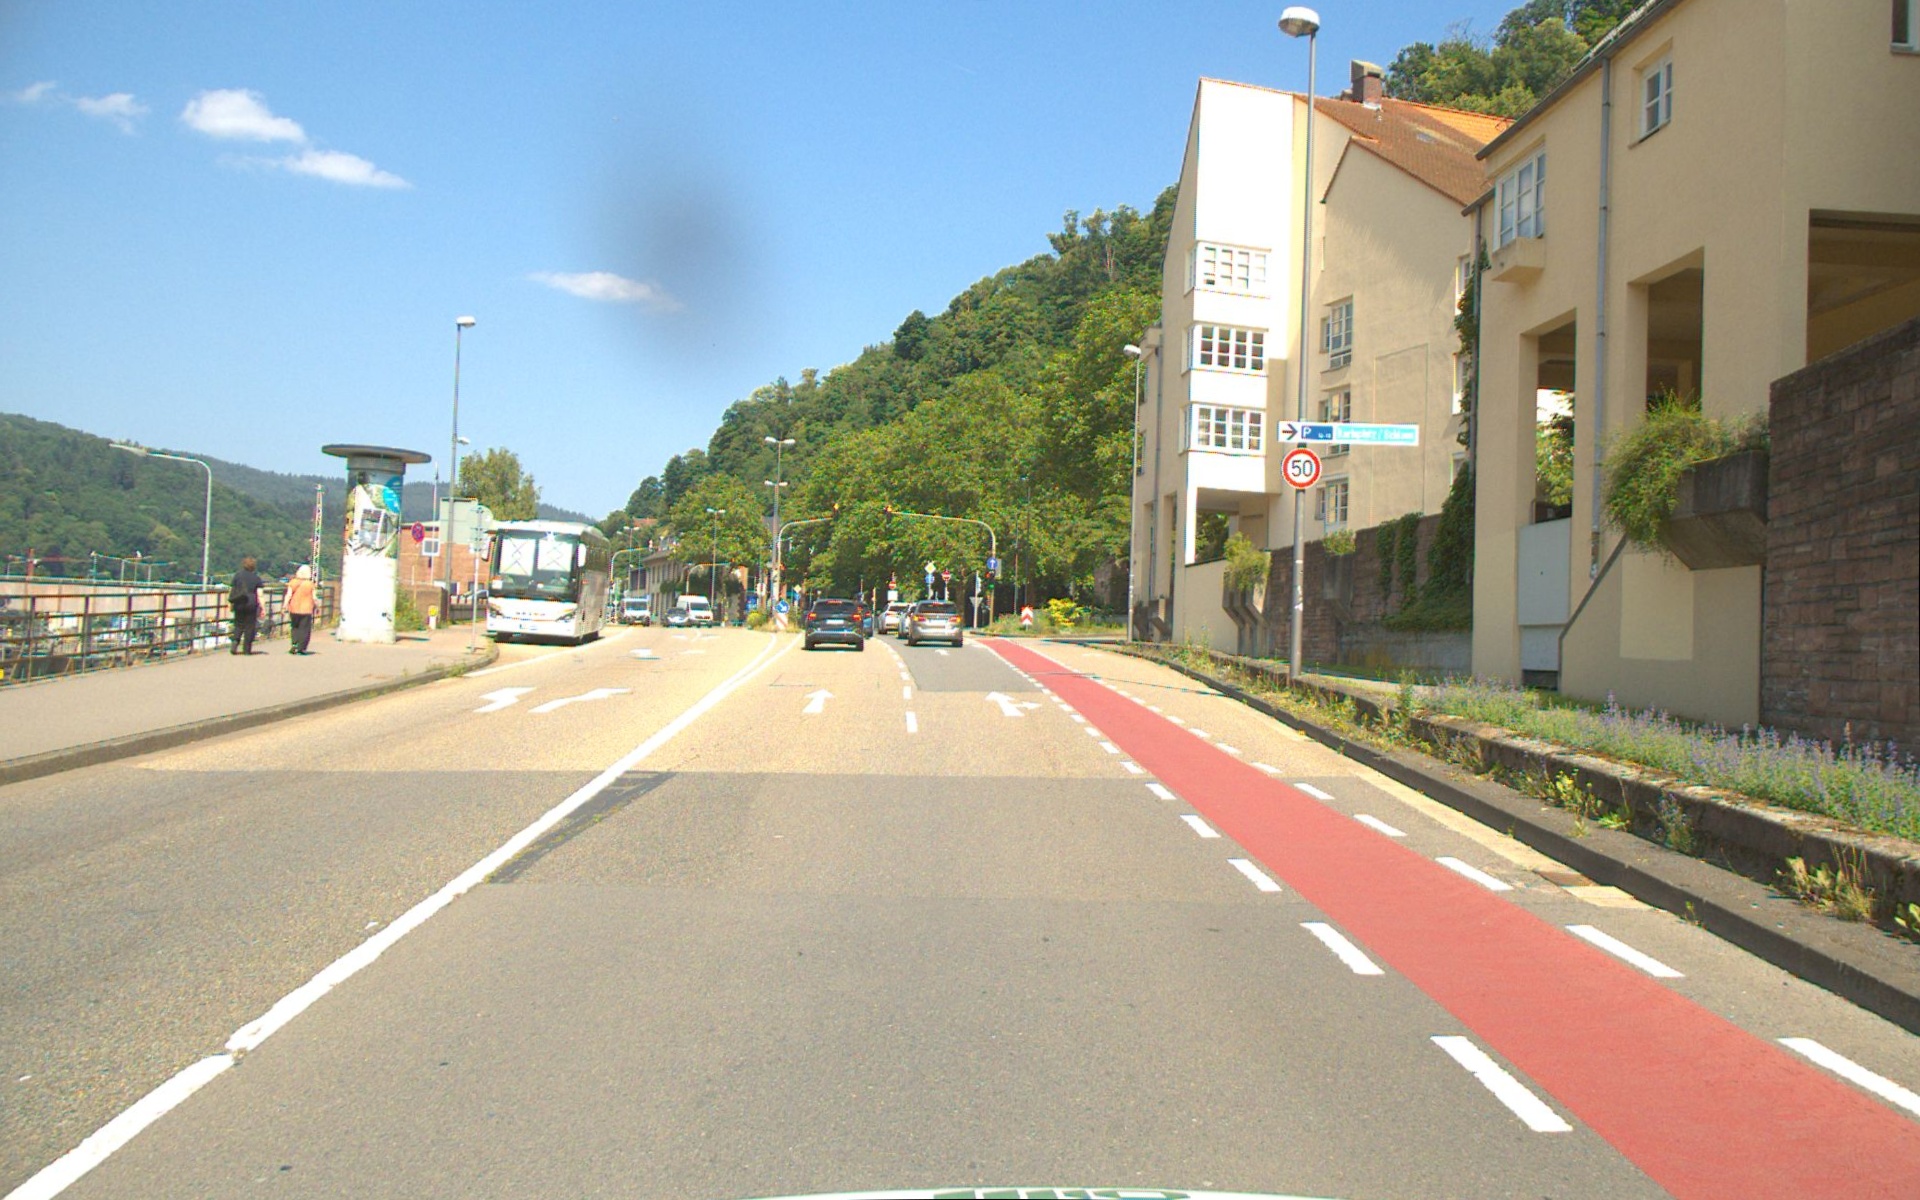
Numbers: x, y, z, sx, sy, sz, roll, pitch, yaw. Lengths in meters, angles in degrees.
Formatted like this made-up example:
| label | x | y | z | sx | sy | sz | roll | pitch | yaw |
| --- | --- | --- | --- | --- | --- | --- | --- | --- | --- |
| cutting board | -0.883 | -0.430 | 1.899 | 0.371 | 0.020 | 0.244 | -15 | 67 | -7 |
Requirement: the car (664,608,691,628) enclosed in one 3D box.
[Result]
| label | x | y | z | sx | sy | sz | roll | pitch | yaw |
| --- | --- | --- | --- | --- | --- | --- | --- | --- | --- |
| car | -22.625 | 1.431 | 132.493 | 1.956 | 1.457 | 4.160 | 1 | 0 | -7 |

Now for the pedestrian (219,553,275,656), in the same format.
| label | x | y | z | sx | sy | sz | roll | pitch | yaw |
| --- | --- | --- | --- | --- | --- | --- | --- | --- | --- |
| pedestrian | -12.403 | 0.081 | 28.772 | 0.670 | 1.739 | 0.771 | 2 | -1 | -10 |

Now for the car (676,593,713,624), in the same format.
| label | x | y | z | sx | sy | sz | roll | pitch | yaw |
| --- | --- | --- | --- | --- | --- | --- | --- | --- | --- |
| car | -22.624 | 0.725 | 140.905 | 2.345 | 2.621 | 6.027 | 1 | 0 | -16 |

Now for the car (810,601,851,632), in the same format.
| label | x | y | z | sx | sy | sz | roll | pitch | yaw |
| --- | --- | --- | --- | --- | --- | --- | --- | --- | --- |
| car | -6.200 | 0.763 | 78.790 | 1.830 | 1.382 | 3.995 | 1 | 0 | -6 |

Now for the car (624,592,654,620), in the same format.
| label | x | y | z | sx | sy | sz | roll | pitch | yaw |
| --- | --- | --- | --- | --- | --- | --- | --- | --- | --- |
| car | -25.635 | 0.482 | 132.071 | 2.175 | 2.115 | 5.029 | 3 | 0 | -11 |

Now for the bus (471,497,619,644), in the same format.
| label | x | y | z | sx | sy | sz | roll | pitch | yaw |
| --- | --- | --- | --- | --- | --- | --- | --- | --- | --- |
| bus | -13.018 | -0.840 | 53.090 | 2.902 | 3.866 | 13.219 | 5 | -1 | -8 |

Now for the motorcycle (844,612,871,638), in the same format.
| label | x | y | z | sx | sy | sz | roll | pitch | yaw |
| --- | --- | --- | --- | --- | --- | --- | --- | --- | --- |
| motorcycle | -4.010 | 0.972 | 64.866 | 1.017 | 0.935 | 2.603 | 1 | 0 | -4 |

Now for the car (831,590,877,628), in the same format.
| label | x | y | z | sx | sy | sz | roll | pitch | yaw |
| --- | --- | --- | --- | --- | --- | --- | --- | --- | --- |
| car | -4.598 | 0.377 | 71.222 | 1.830 | 1.589 | 3.995 | 1 | 0 | -6 |

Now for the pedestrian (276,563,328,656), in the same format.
| label | x | y | z | sx | sy | sz | roll | pitch | yaw |
| --- | --- | --- | --- | --- | --- | --- | --- | --- | --- |
| pedestrian | -11.960 | 0.178 | 30.101 | 0.690 | 1.649 | 0.814 | 2 | -1 | -12 |

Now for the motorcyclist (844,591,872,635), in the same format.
| label | x | y | z | sx | sy | sz | roll | pitch | yaw |
| --- | --- | --- | --- | --- | --- | --- | --- | --- | --- |
| motorcyclist | -4.004 | 0.496 | 64.716 | 1.054 | 1.714 | 1.155 | 1 | 0 | -4 |

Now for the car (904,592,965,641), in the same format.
| label | x | y | z | sx | sy | sz | roll | pitch | yaw |
| --- | --- | --- | --- | --- | --- | --- | --- | --- | --- |
| car | -0.916 | 0.570 | 56.602 | 1.851 | 1.548 | 4.303 | 3 | -1 | -3 |

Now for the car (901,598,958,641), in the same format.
| label | x | y | z | sx | sy | sz | roll | pitch | yaw |
| --- | --- | --- | --- | --- | --- | --- | --- | --- | --- |
| car | -1.224 | 0.750 | 64.663 | 1.954 | 1.560 | 4.855 | 2 | 0 | -4 |

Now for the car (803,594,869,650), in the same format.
| label | x | y | z | sx | sy | sz | roll | pitch | yaw |
| --- | --- | --- | --- | --- | --- | --- | --- | --- | --- |
| car | -3.733 | 0.670 | 50.215 | 1.832 | 1.540 | 4.148 | 3 | -1 | -3 |

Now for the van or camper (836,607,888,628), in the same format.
| label | x | y | z | sx | sy | sz | roll | pitch | yaw |
| --- | --- | --- | --- | --- | --- | --- | --- | --- | --- |
| van or camper | -9.174 | 1.623 | 155.310 | 4.445 | 1.935 | 2.002 | 0 | 0 | 12 |

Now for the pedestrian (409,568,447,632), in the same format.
| label | x | y | z | sx | sy | sz | roll | pitch | yaw |
| --- | --- | --- | --- | --- | --- | --- | --- | --- | --- |
| pedestrian | -15.671 | -0.002 | 48.741 | 0.876 | 1.827 | 1.038 | 2 | -1 | -9 |

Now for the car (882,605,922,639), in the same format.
| label | x | y | z | sx | sy | sz | roll | pitch | yaw |
| --- | --- | --- | --- | --- | --- | --- | --- | --- | --- |
| car | -2.797 | 1.047 | 78.944 | 1.750 | 1.559 | 4.732 | 1 | -1 | -4 |
